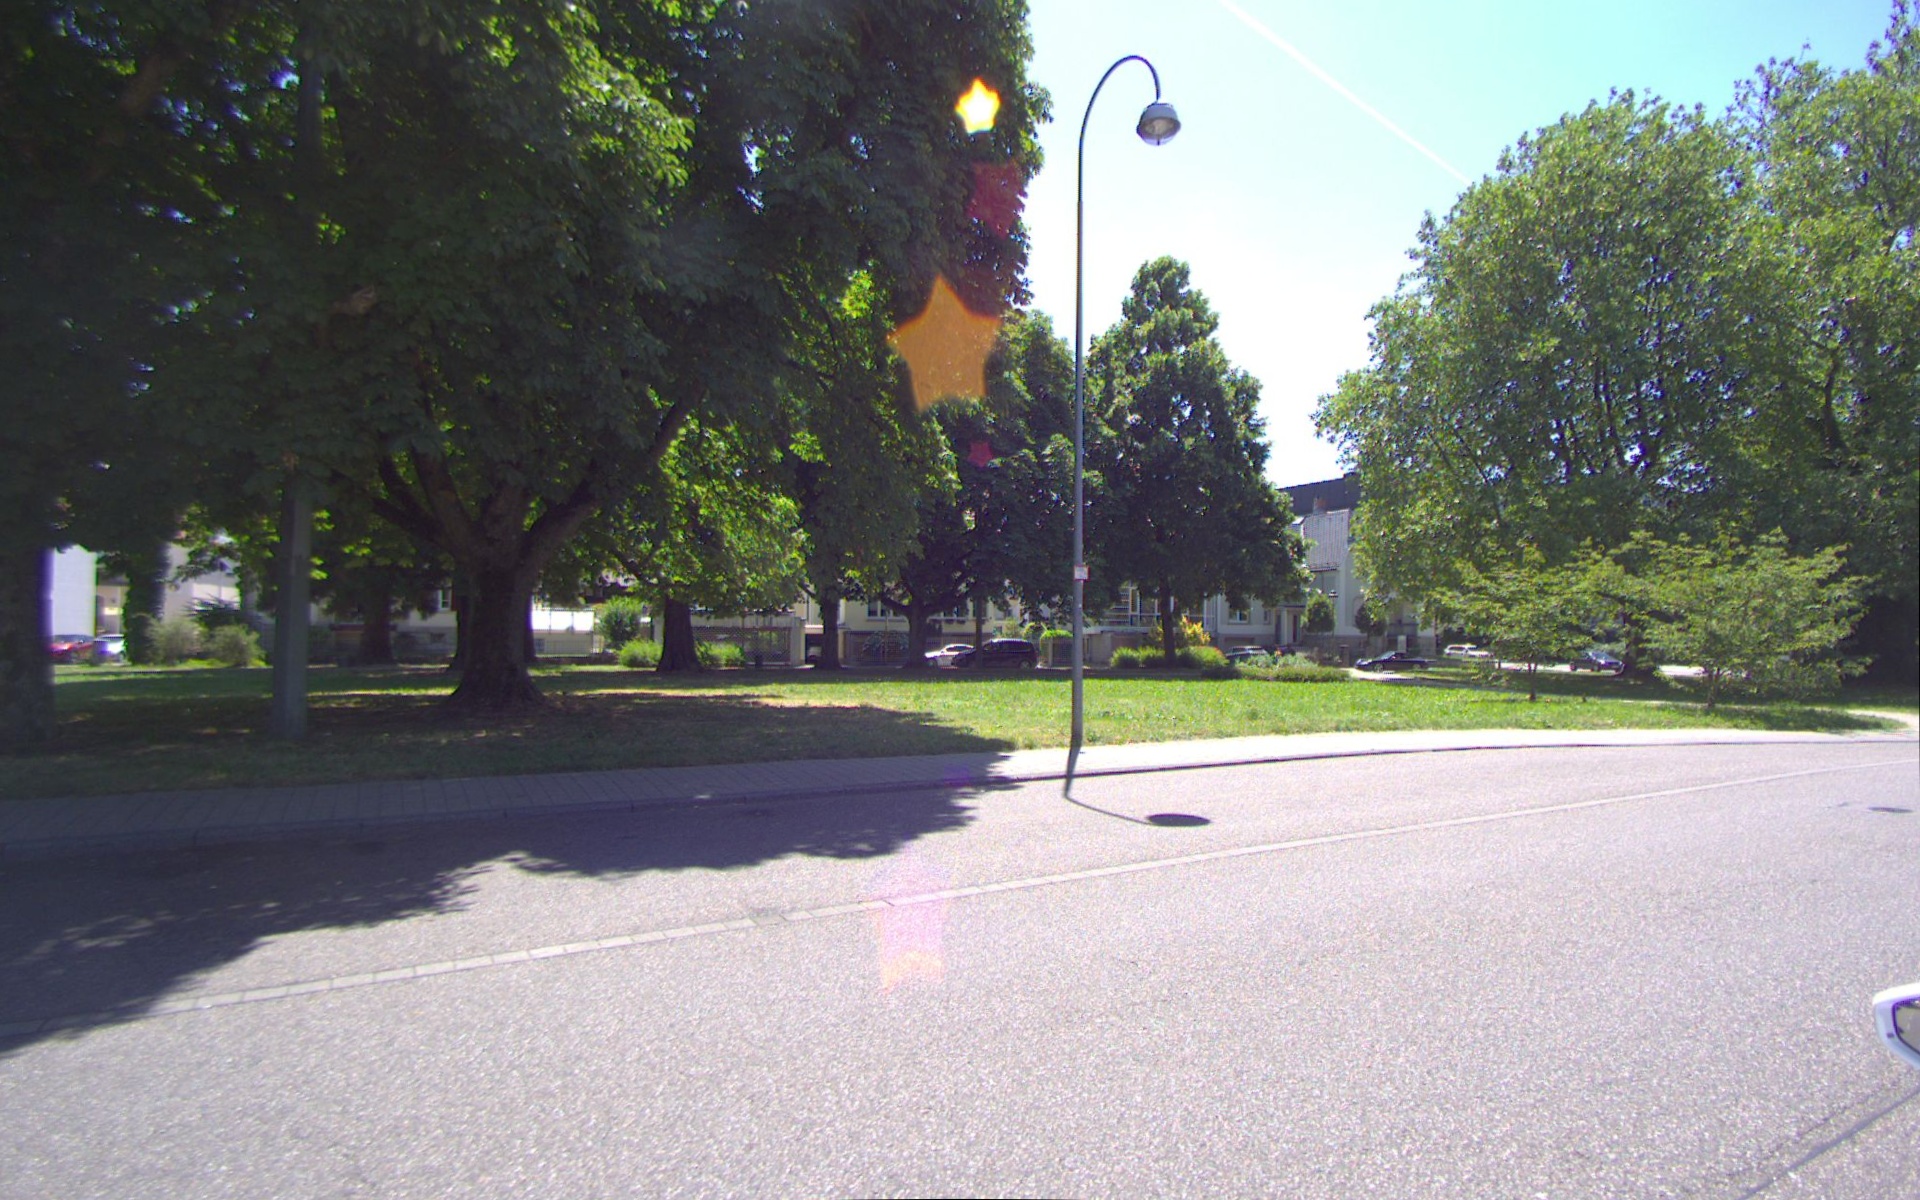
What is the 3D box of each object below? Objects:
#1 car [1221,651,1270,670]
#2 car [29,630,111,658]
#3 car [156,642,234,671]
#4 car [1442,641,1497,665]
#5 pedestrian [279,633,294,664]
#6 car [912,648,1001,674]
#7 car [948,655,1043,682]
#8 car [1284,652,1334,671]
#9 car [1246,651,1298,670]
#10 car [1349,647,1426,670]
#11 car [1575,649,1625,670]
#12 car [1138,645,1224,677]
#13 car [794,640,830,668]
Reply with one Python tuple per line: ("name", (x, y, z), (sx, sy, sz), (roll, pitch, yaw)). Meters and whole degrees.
("car", (19.402, 4.090, 68.381), (1.536, 1.200, 3.558), (1, -2, -19))
("car", (-46.182, 2.270, 52.223), (1.612, 1.367, 4.032), (1, -2, -17))
("car", (-38.787, 2.848, 51.053), (1.610, 1.367, 4.036), (1, -2, -14))
("car", (43.071, 4.468, 84.987), (1.872, 1.830, 3.986), (3, -1, -16))
("pedestrian", (-33.499, 2.425, 49.993), (0.476, 1.510, 0.389), (1, -2, -14))
("car", (-0.243, 3.495, 57.808), (4.802, 1.367, 1.989), (1, -2, -13))
("car", (1.901, 3.714, 54.533), (4.802, 1.367, 1.989), (1, -2, -13))
("car", (24.357, 4.279, 70.135), (1.455, 1.200, 3.558), (1, -2, -19))
("car", (21.805, 4.225, 70.246), (1.686, 1.268, 3.722), (1, -2, -17))
("car", (25.627, 3.519, 60.275), (3.913, 1.328, 1.821), (1, -2, -5))
("car", (44.223, 4.083, 69.498), (1.609, 1.328, 4.201), (0, -2, 14))
("car", (13.645, 3.759, 62.014), (4.802, 1.870, 1.989), (1, -2, -13))
("car", (-9.457, 3.416, 64.169), (1.814, 1.669, 3.988), (1, -2, -15))
